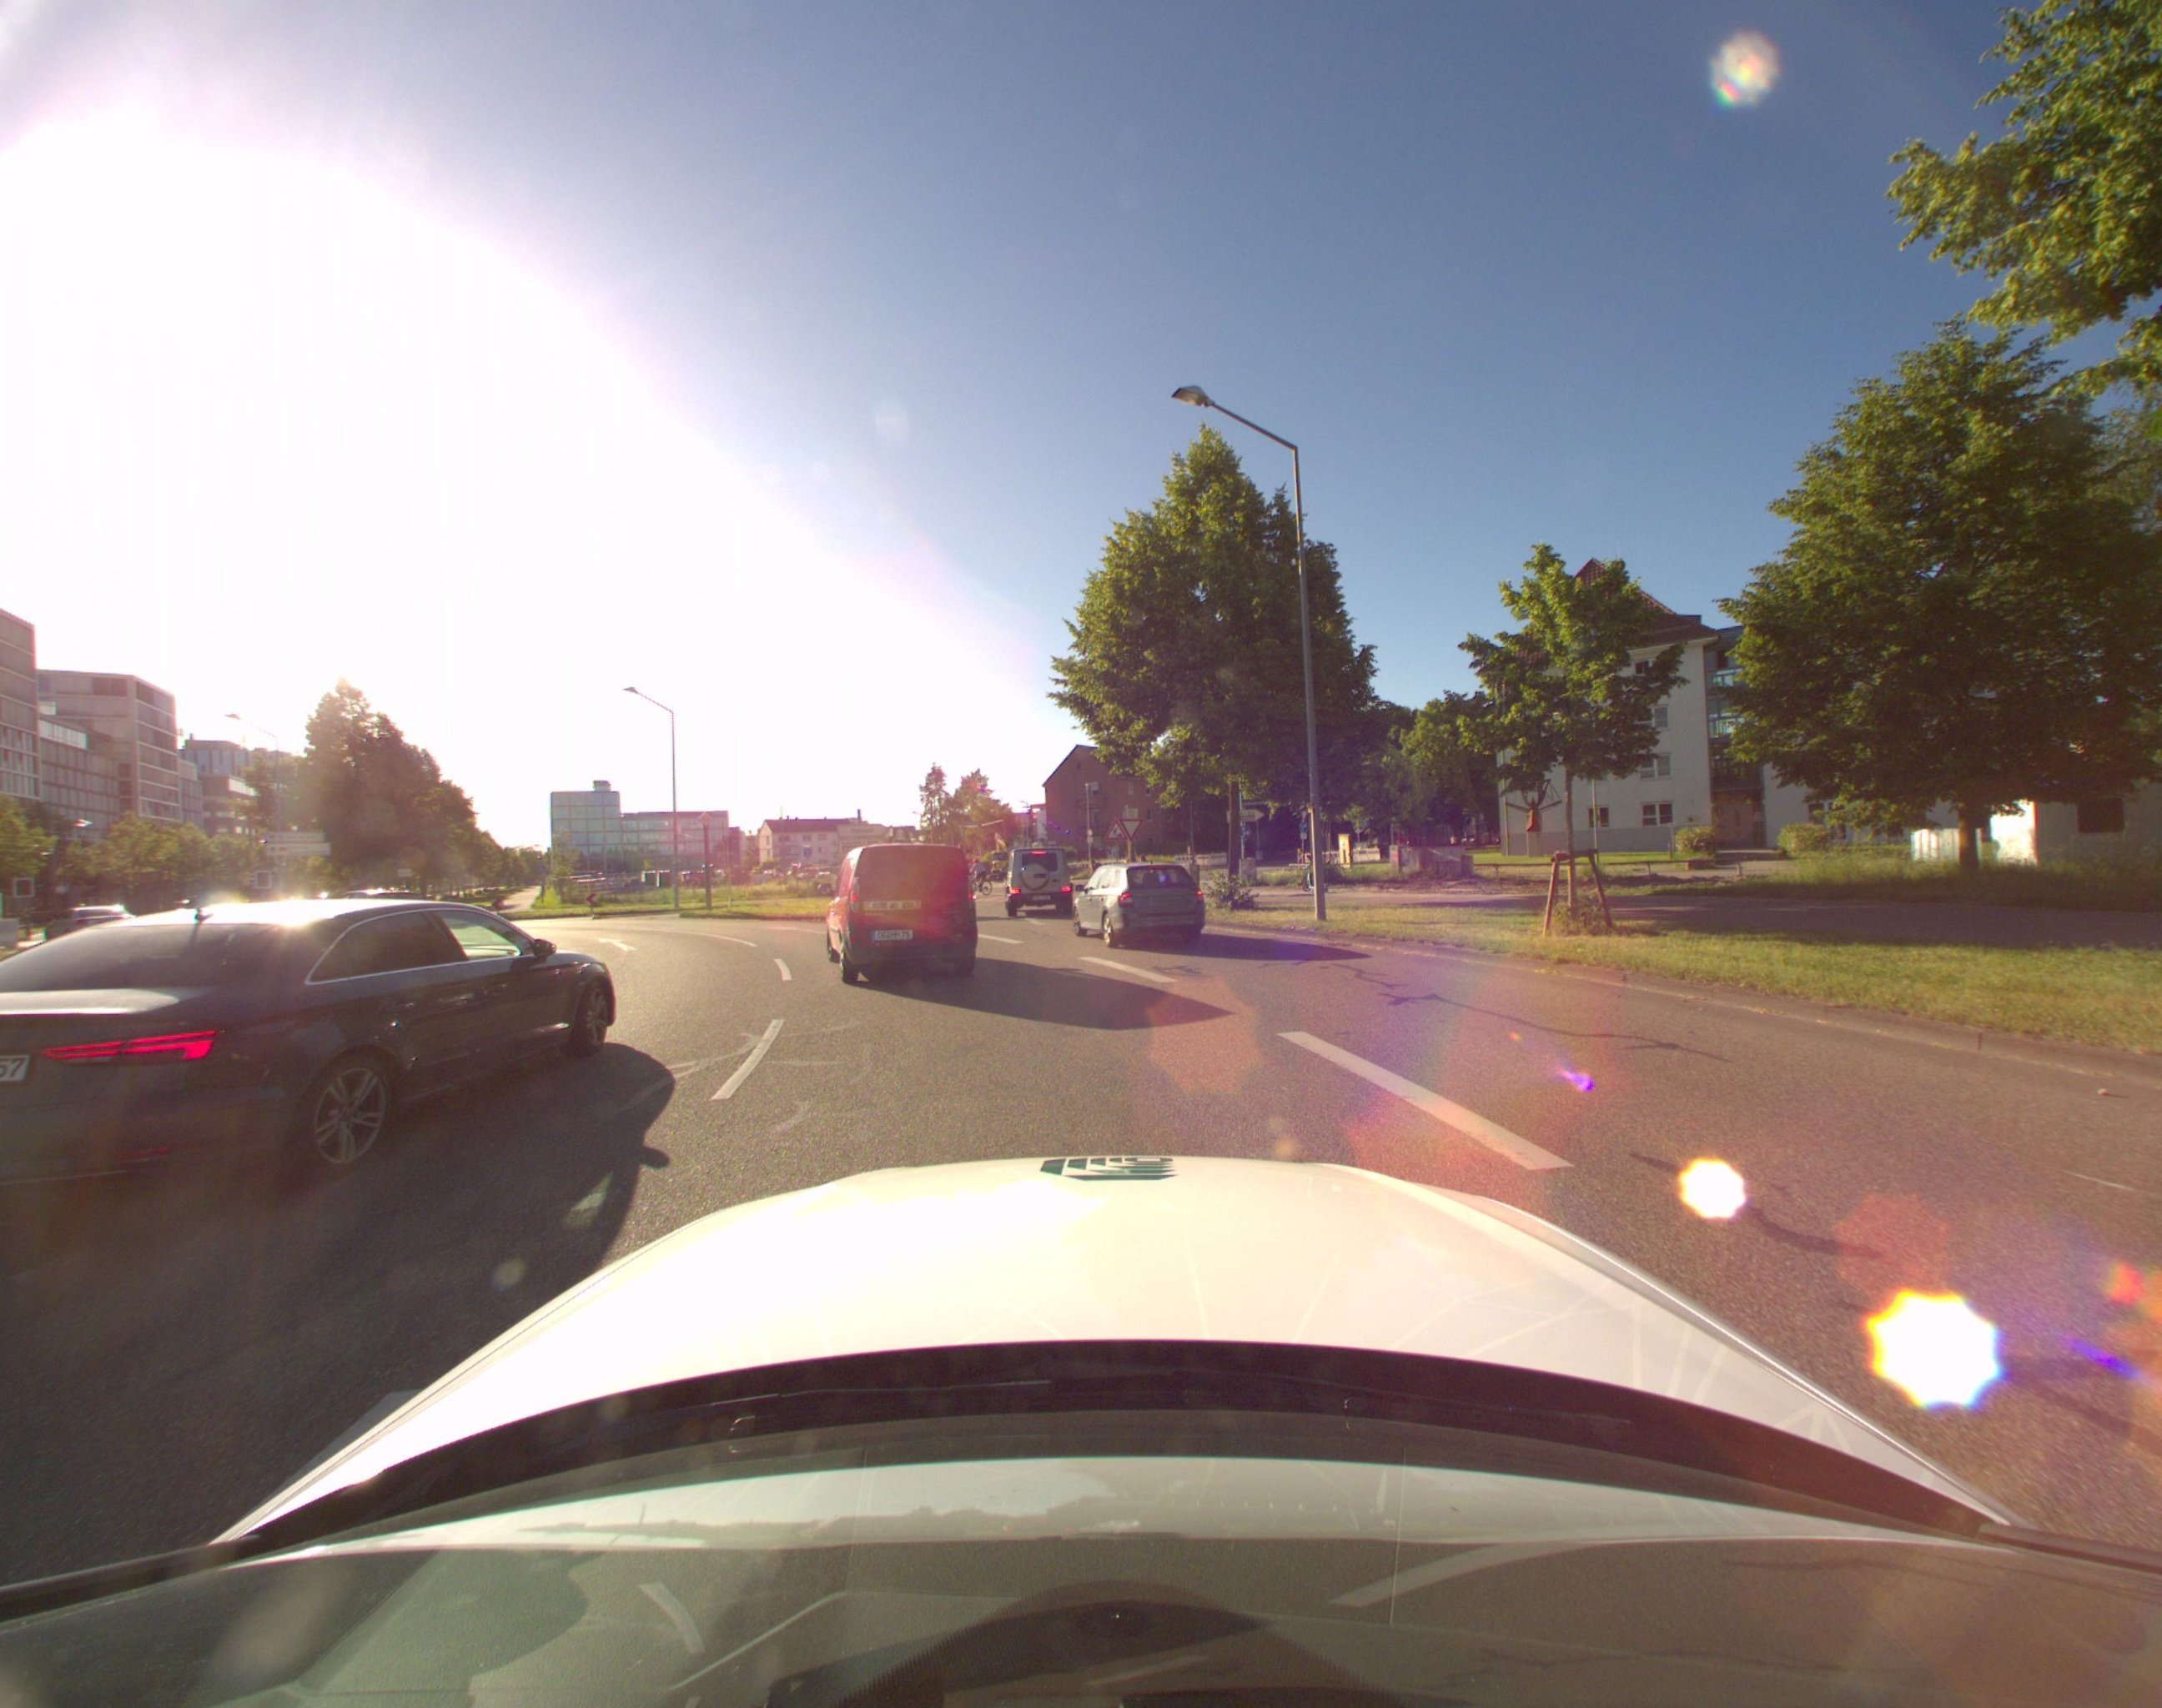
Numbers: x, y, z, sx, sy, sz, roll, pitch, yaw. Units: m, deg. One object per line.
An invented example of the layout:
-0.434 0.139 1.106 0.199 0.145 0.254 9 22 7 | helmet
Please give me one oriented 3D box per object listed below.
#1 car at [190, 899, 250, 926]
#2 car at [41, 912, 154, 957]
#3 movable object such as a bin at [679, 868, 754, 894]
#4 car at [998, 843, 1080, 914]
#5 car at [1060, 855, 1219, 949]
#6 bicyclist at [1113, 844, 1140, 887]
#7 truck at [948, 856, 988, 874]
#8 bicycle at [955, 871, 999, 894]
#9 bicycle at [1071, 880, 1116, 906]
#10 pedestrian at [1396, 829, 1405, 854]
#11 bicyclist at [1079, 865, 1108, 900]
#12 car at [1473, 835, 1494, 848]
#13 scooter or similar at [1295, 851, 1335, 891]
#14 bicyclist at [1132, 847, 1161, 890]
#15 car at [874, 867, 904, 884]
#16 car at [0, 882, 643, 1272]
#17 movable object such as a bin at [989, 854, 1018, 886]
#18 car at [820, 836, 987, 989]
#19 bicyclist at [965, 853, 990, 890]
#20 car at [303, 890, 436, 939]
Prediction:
-61.783 4.164 58.516 2.008 1.575 4.361 -3 0 -34 | car
-40.464 3.275 33.498 4.352 1.575 2.012 -3 0 27 | car
-44.330 3.217 99.064 7.958 2.782 2.914 -2 0 -31 | movable object such as a bin
-1.396 0.715 24.834 1.996 1.897 4.738 -2 -1 -8 | car
0.918 0.813 15.240 1.717 1.436 4.131 -2 -1 -14 | car
1.904 0.480 33.784 0.658 1.730 0.802 -1 -2 -44 | bicyclist
-12.735 1.256 91.136 2.178 2.014 6.373 0 -1 -30 | truck
-5.023 1.363 39.360 1.985 1.027 0.747 -2 2 25 | bicycle
0.498 1.594 33.284 1.800 1.028 0.664 -3 -2 39 | bicycle
25.270 -0.987 64.395 0.457 2.013 0.466 -2 0 -44 | pedestrian
0.502 1.170 33.267 0.923 1.385 0.664 -2 -2 40 | bicyclist
61.132 -1.876 123.753 1.974 1.872 4.025 -2 -1 40 | car
7.615 0.564 26.522 0.446 1.248 1.252 0 -3 -30 | scooter or similar
2.574 0.569 31.885 0.888 1.665 0.664 -2 -2 43 | bicyclist
-24.205 2.682 102.484 2.009 2.014 4.448 0 -1 -37 | car
-4.734 0.959 5.282 1.758 1.380 4.349 -2 0 -6 | car
-6.943 1.419 72.273 2.417 2.773 3.989 -1 -1 -7 | movable object such as a bin
-2.754 0.732 11.960 1.809 1.813 3.782 -2 0 -21 | car
-4.979 0.845 39.299 0.843 1.680 0.747 -2 2 25 | bicyclist
-23.603 1.956 27.032 3.763 1.461 1.818 -1 0 22 | car
